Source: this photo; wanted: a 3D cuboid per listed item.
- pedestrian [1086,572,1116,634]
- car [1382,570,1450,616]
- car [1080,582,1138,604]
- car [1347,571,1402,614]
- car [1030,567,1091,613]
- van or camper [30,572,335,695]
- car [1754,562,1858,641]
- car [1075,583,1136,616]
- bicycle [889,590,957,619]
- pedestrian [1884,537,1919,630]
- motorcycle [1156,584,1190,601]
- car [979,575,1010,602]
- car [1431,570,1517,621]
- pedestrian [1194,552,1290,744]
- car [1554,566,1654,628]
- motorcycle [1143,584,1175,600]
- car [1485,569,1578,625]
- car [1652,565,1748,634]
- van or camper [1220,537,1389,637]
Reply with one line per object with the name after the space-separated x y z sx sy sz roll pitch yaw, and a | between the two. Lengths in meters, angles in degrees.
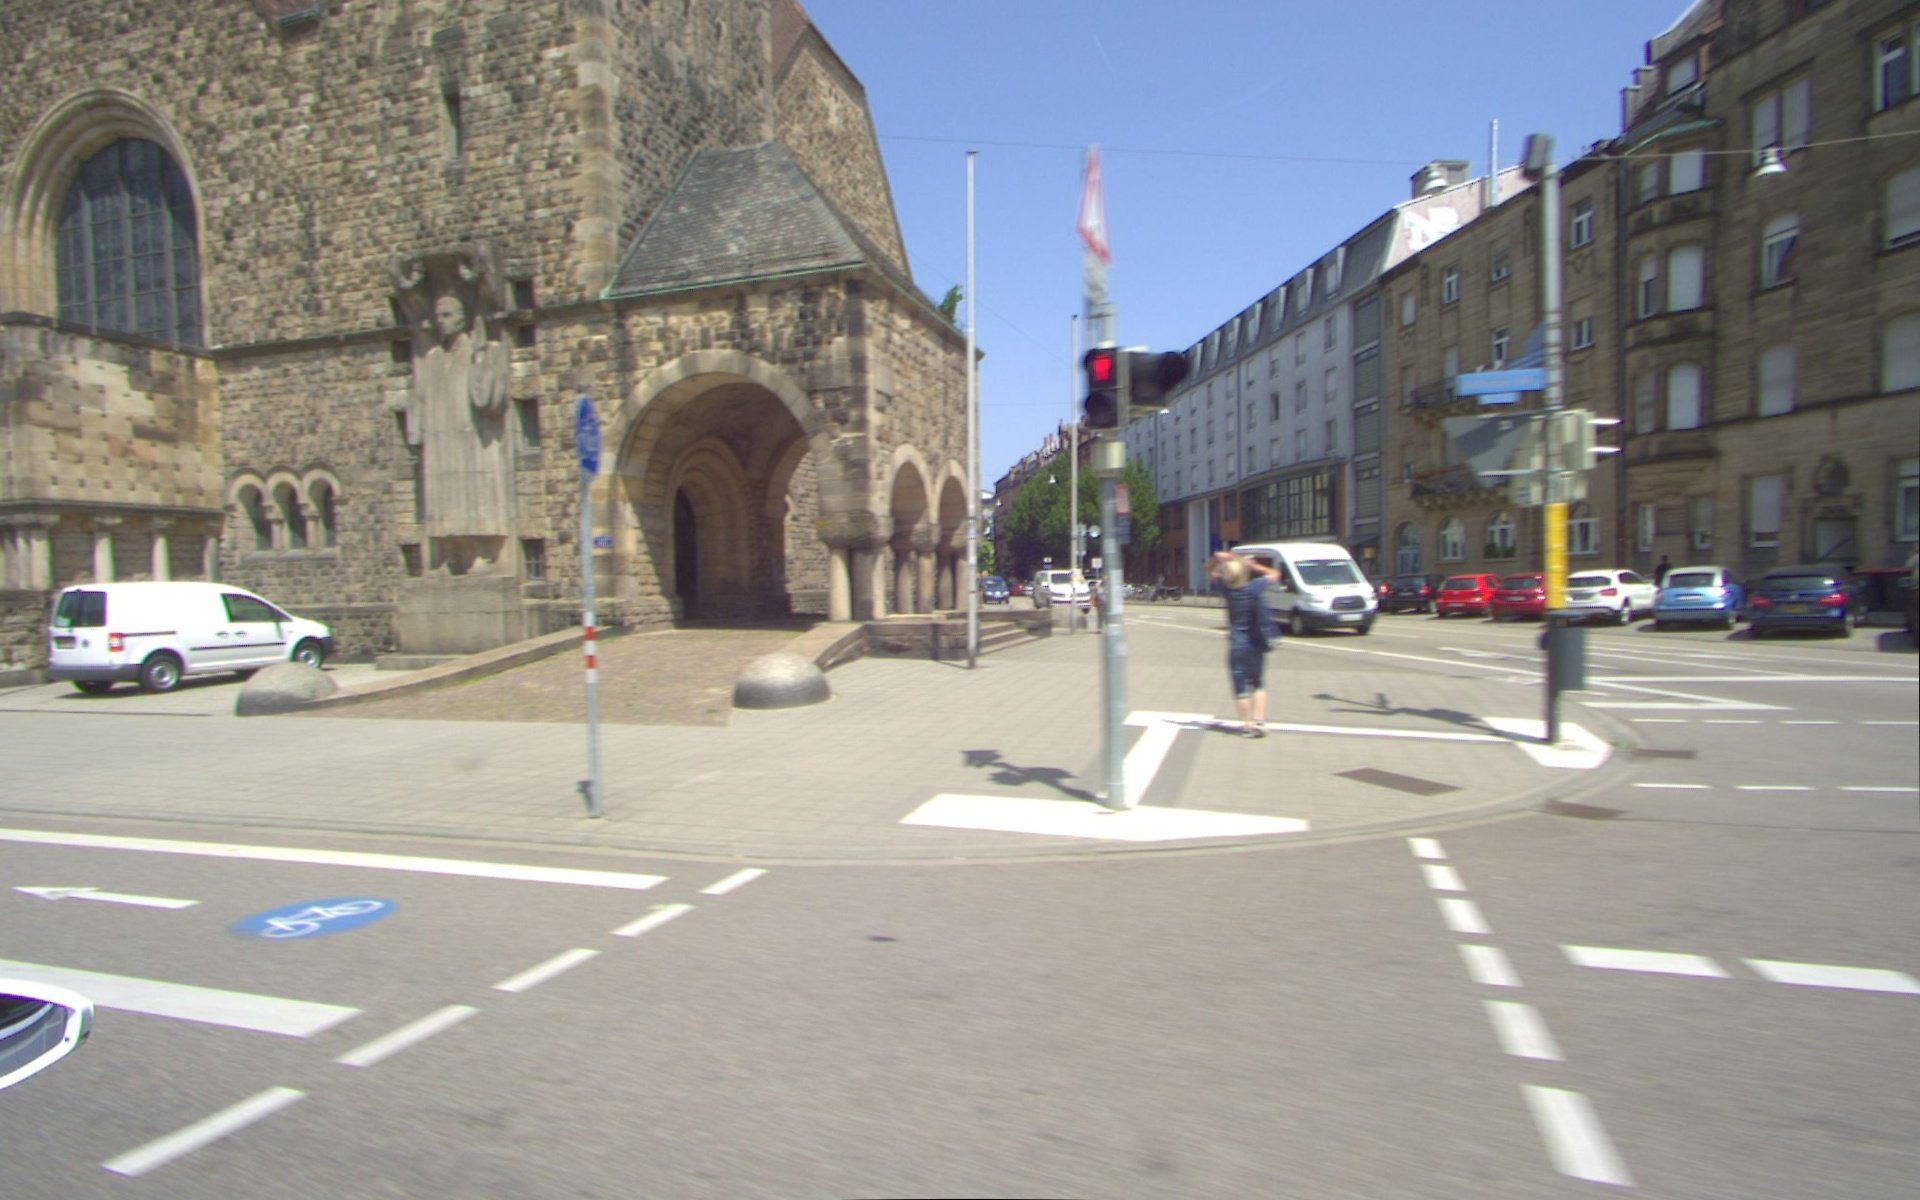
3.684 0.078 26.180 0.707 1.580 0.791 -1 1 12 | pedestrian
17.545 -0.279 38.481 1.598 1.596 3.200 -3 1 39 | car
10.861 -0.519 72.938 3.942 1.569 1.740 -1 1 -30 | car
17.046 -0.320 41.115 1.476 1.596 3.207 -3 1 33 | car
4.625 -0.492 46.957 2.005 2.032 4.965 -1 1 -4 | car
-13.725 0.476 18.011 1.770 1.851 3.991 0 3 17 | van or camper
19.342 0.006 22.850 1.600 1.596 3.196 -2 1 44 | car
6.859 -0.071 47.515 1.961 1.477 3.997 -1 1 -6 | car
-1.398 0.176 37.512 2.455 1.025 0.704 -1 2 20 | bicycle
22.428 -0.397 23.413 0.853 2.143 1.097 0 2 25 | pedestrian
13.301 -0.451 62.649 2.038 0.972 0.741 -1 4 11 | motorcycle
2.281 -0.775 67.329 1.961 1.751 3.999 -1 1 1 | car
17.925 -0.175 34.870 3.191 1.596 1.603 -4 1 -42 | car
2.865 0.459 10.135 0.820 1.847 0.742 0 1 25 | pedestrian
18.602 -0.093 28.882 3.191 1.596 1.603 -4 1 -42 | car
12.843 -0.526 64.719 2.038 0.972 0.607 -1 4 11 | motorcycle
18.285 -0.106 32.006 3.191 1.596 1.603 -4 1 -42 | car
19.353 -0.034 26.148 1.600 1.596 3.196 -2 1 44 | car
9.414 -0.406 28.064 2.034 2.495 5.896 -1 2 -8 | van or camper
